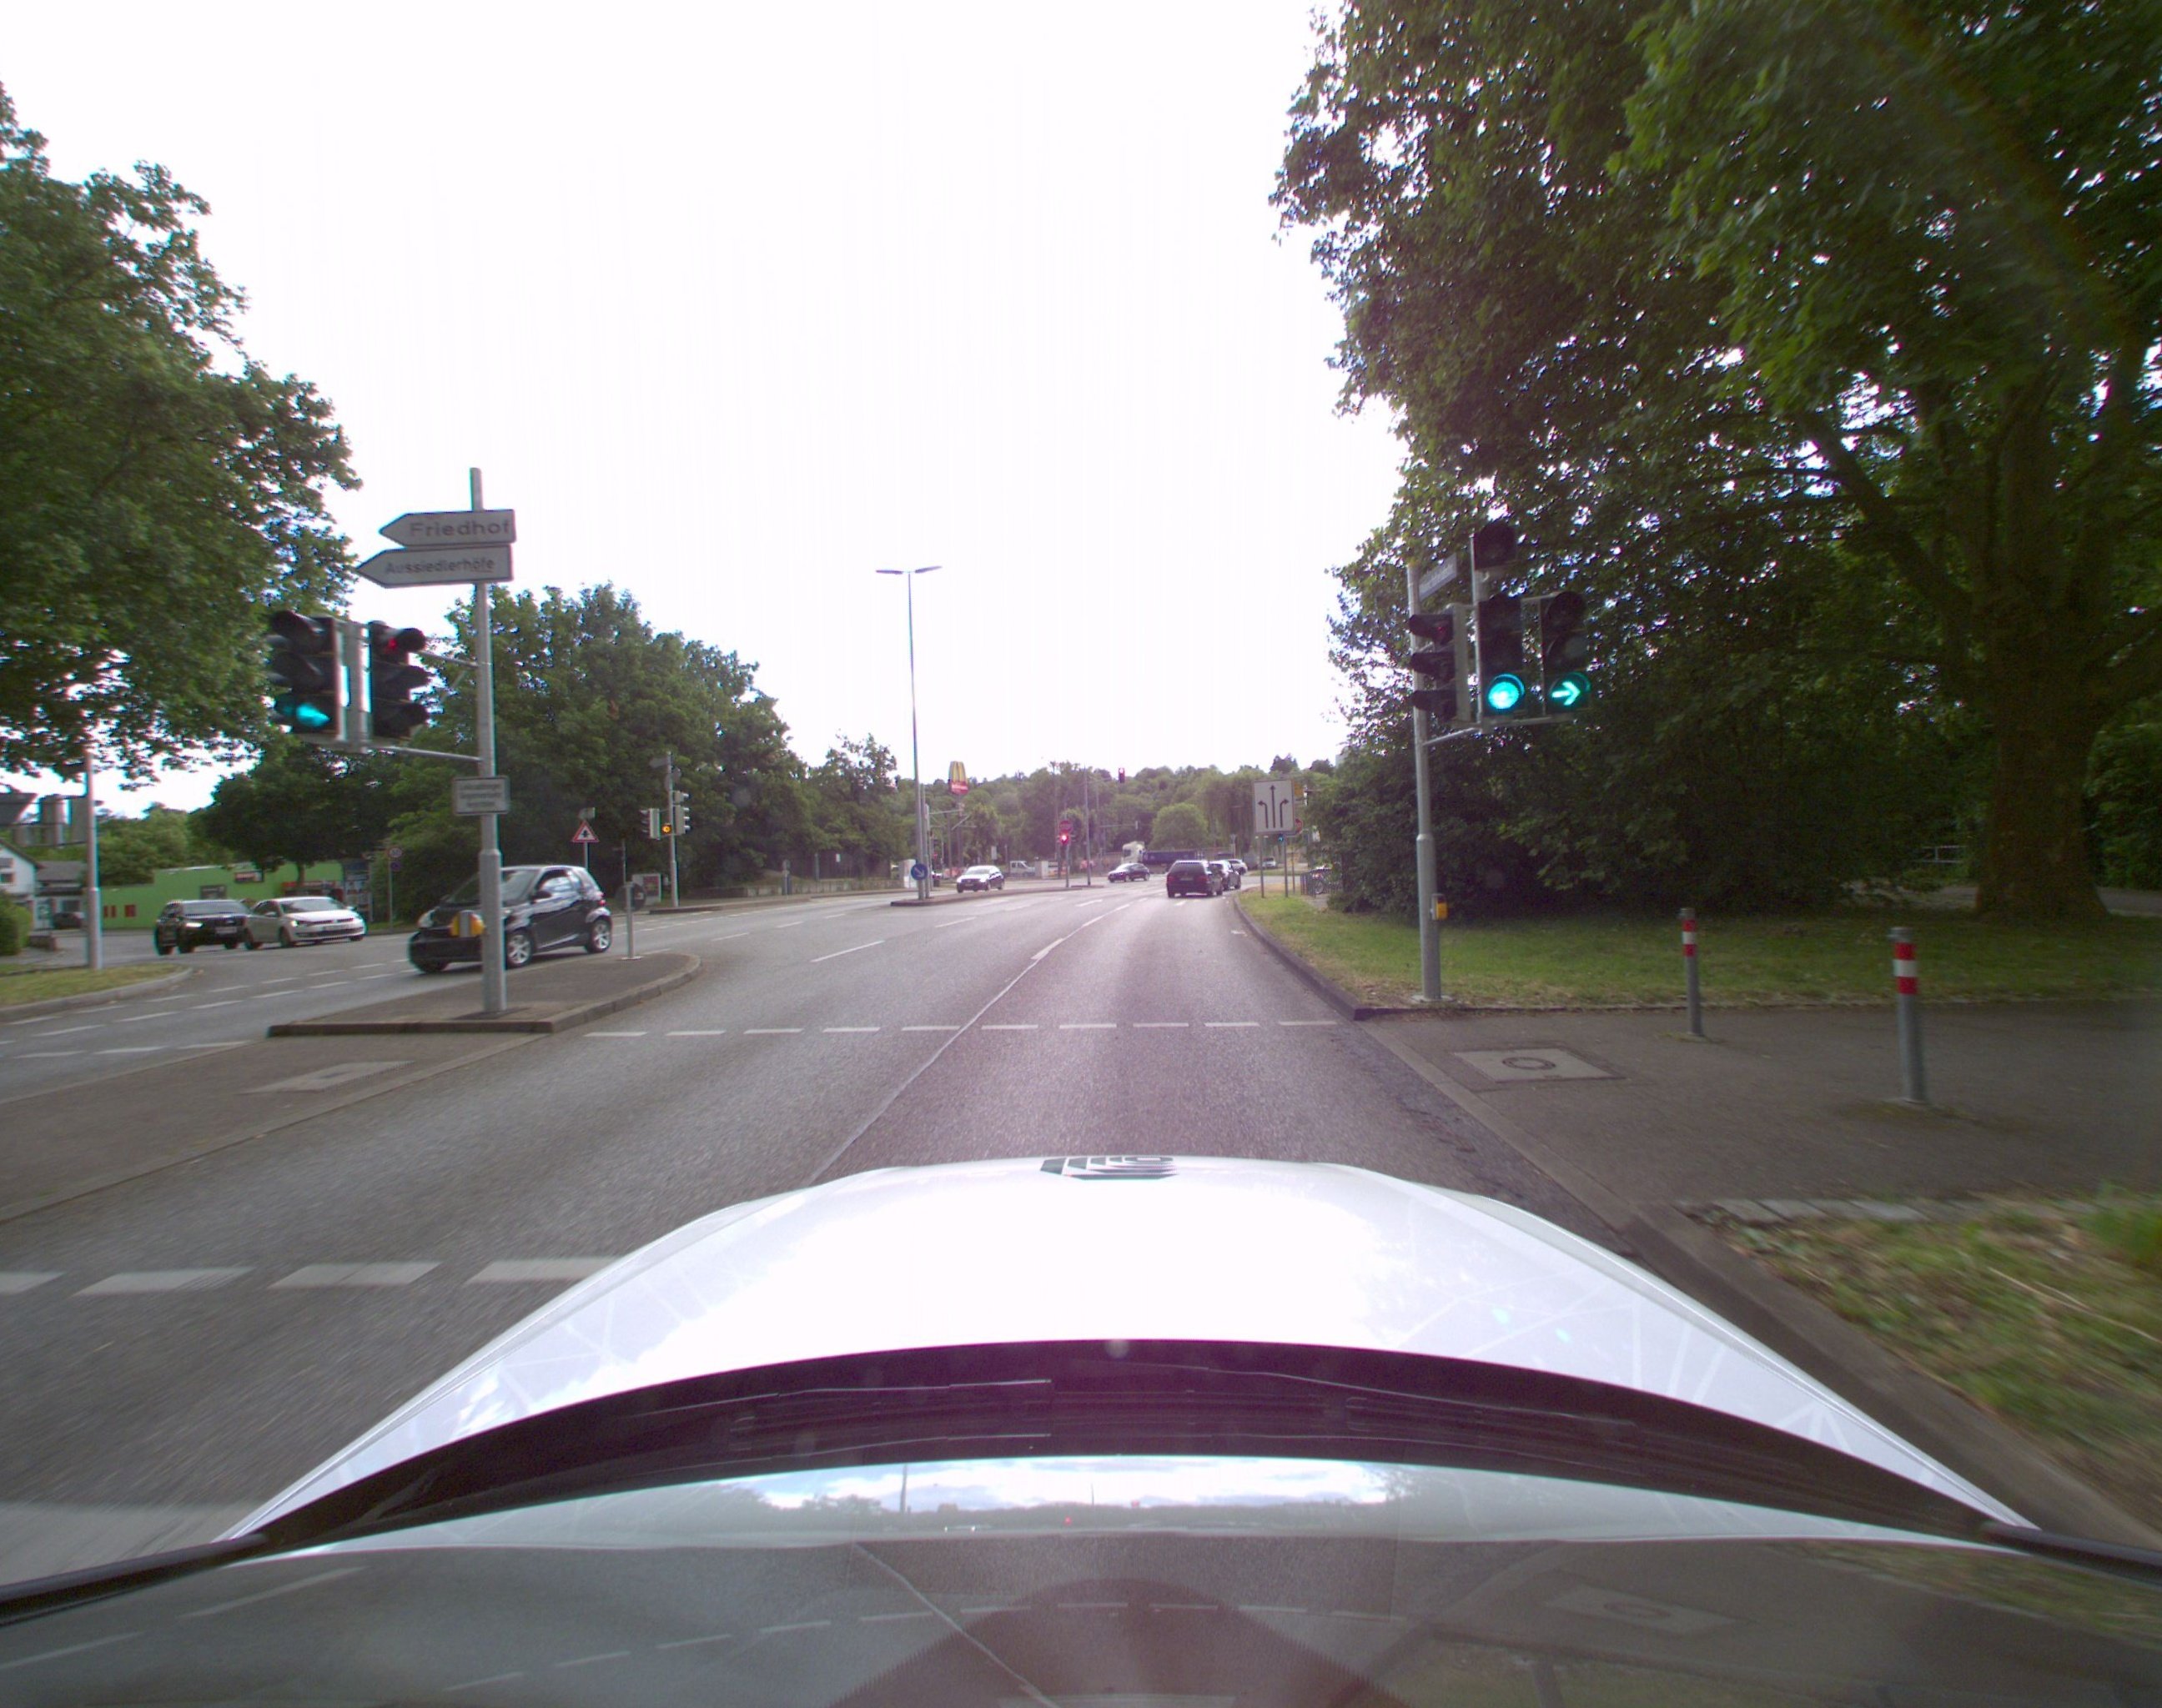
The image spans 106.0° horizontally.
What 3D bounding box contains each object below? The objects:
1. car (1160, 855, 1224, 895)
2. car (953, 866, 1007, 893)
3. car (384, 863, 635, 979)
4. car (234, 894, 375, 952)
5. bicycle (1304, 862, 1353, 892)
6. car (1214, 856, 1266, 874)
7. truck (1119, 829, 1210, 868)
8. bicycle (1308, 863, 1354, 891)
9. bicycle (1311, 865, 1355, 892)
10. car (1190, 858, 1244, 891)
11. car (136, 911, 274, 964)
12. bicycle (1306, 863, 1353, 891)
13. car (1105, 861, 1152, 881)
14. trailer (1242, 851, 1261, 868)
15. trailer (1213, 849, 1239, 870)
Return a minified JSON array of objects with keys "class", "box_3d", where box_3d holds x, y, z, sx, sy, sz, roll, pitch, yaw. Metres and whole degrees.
[{"class":"car","box_3d":[4.608,0.869,33.308,1.808,1.509,4.594,-1,-2,17]},{"class":"car","box_3d":[-5.504,1.369,44.805,1.666,1.366,4.324,-2,-1,11]},{"class":"car","box_3d":[-9.010,0.967,13.172,1.561,1.527,3.193,-3,0,5]},{"class":"car","box_3d":[-22.585,1.985,23.675,3.806,1.479,1.837,-3,-1,28]},{"class":"bicycle","box_3d":[9.850,0.922,32.400,1.761,1.111,0.428,-3,-3,32]},{"class":"car","box_3d":[14.209,0.982,72.809,4.290,1.405,1.595,-3,-1,-18]},{"class":"truck","box_3d":[8.927,-0.487,87.862,9.015,3.588,3.238,-4,-2,26]},{"class":"bicycle","box_3d":[10.343,0.958,33.768,1.766,1.111,0.582,-2,-2,13]},{"class":"bicycle","box_3d":[11.016,1.070,35.587,1.766,1.111,0.555,-2,-2,13]},{"class":"car","box_3d":[7.087,1.028,42.159,1.711,1.530,4.171,-3,-1,23]},{"class":"car","box_3d":[-30.033,2.837,27.914,4.217,1.546,2.012,-3,-1,26]},{"class":"bicycle","box_3d":[10.106,0.934,33.084,1.764,1.111,0.457,-2,-2,18]},{"class":"car","box_3d":[3.819,1.365,64.920,1.601,1.416,3.919,-4,-1,43]},{"class":"trailer","box_3d":[22.939,0.776,109.452,1.978,2.184,4.017,-3,-2,16]},{"class":"trailer","box_3d":[19.344,0.701,108.571,2.332,2.582,4.945,-4,-2,21]}]
